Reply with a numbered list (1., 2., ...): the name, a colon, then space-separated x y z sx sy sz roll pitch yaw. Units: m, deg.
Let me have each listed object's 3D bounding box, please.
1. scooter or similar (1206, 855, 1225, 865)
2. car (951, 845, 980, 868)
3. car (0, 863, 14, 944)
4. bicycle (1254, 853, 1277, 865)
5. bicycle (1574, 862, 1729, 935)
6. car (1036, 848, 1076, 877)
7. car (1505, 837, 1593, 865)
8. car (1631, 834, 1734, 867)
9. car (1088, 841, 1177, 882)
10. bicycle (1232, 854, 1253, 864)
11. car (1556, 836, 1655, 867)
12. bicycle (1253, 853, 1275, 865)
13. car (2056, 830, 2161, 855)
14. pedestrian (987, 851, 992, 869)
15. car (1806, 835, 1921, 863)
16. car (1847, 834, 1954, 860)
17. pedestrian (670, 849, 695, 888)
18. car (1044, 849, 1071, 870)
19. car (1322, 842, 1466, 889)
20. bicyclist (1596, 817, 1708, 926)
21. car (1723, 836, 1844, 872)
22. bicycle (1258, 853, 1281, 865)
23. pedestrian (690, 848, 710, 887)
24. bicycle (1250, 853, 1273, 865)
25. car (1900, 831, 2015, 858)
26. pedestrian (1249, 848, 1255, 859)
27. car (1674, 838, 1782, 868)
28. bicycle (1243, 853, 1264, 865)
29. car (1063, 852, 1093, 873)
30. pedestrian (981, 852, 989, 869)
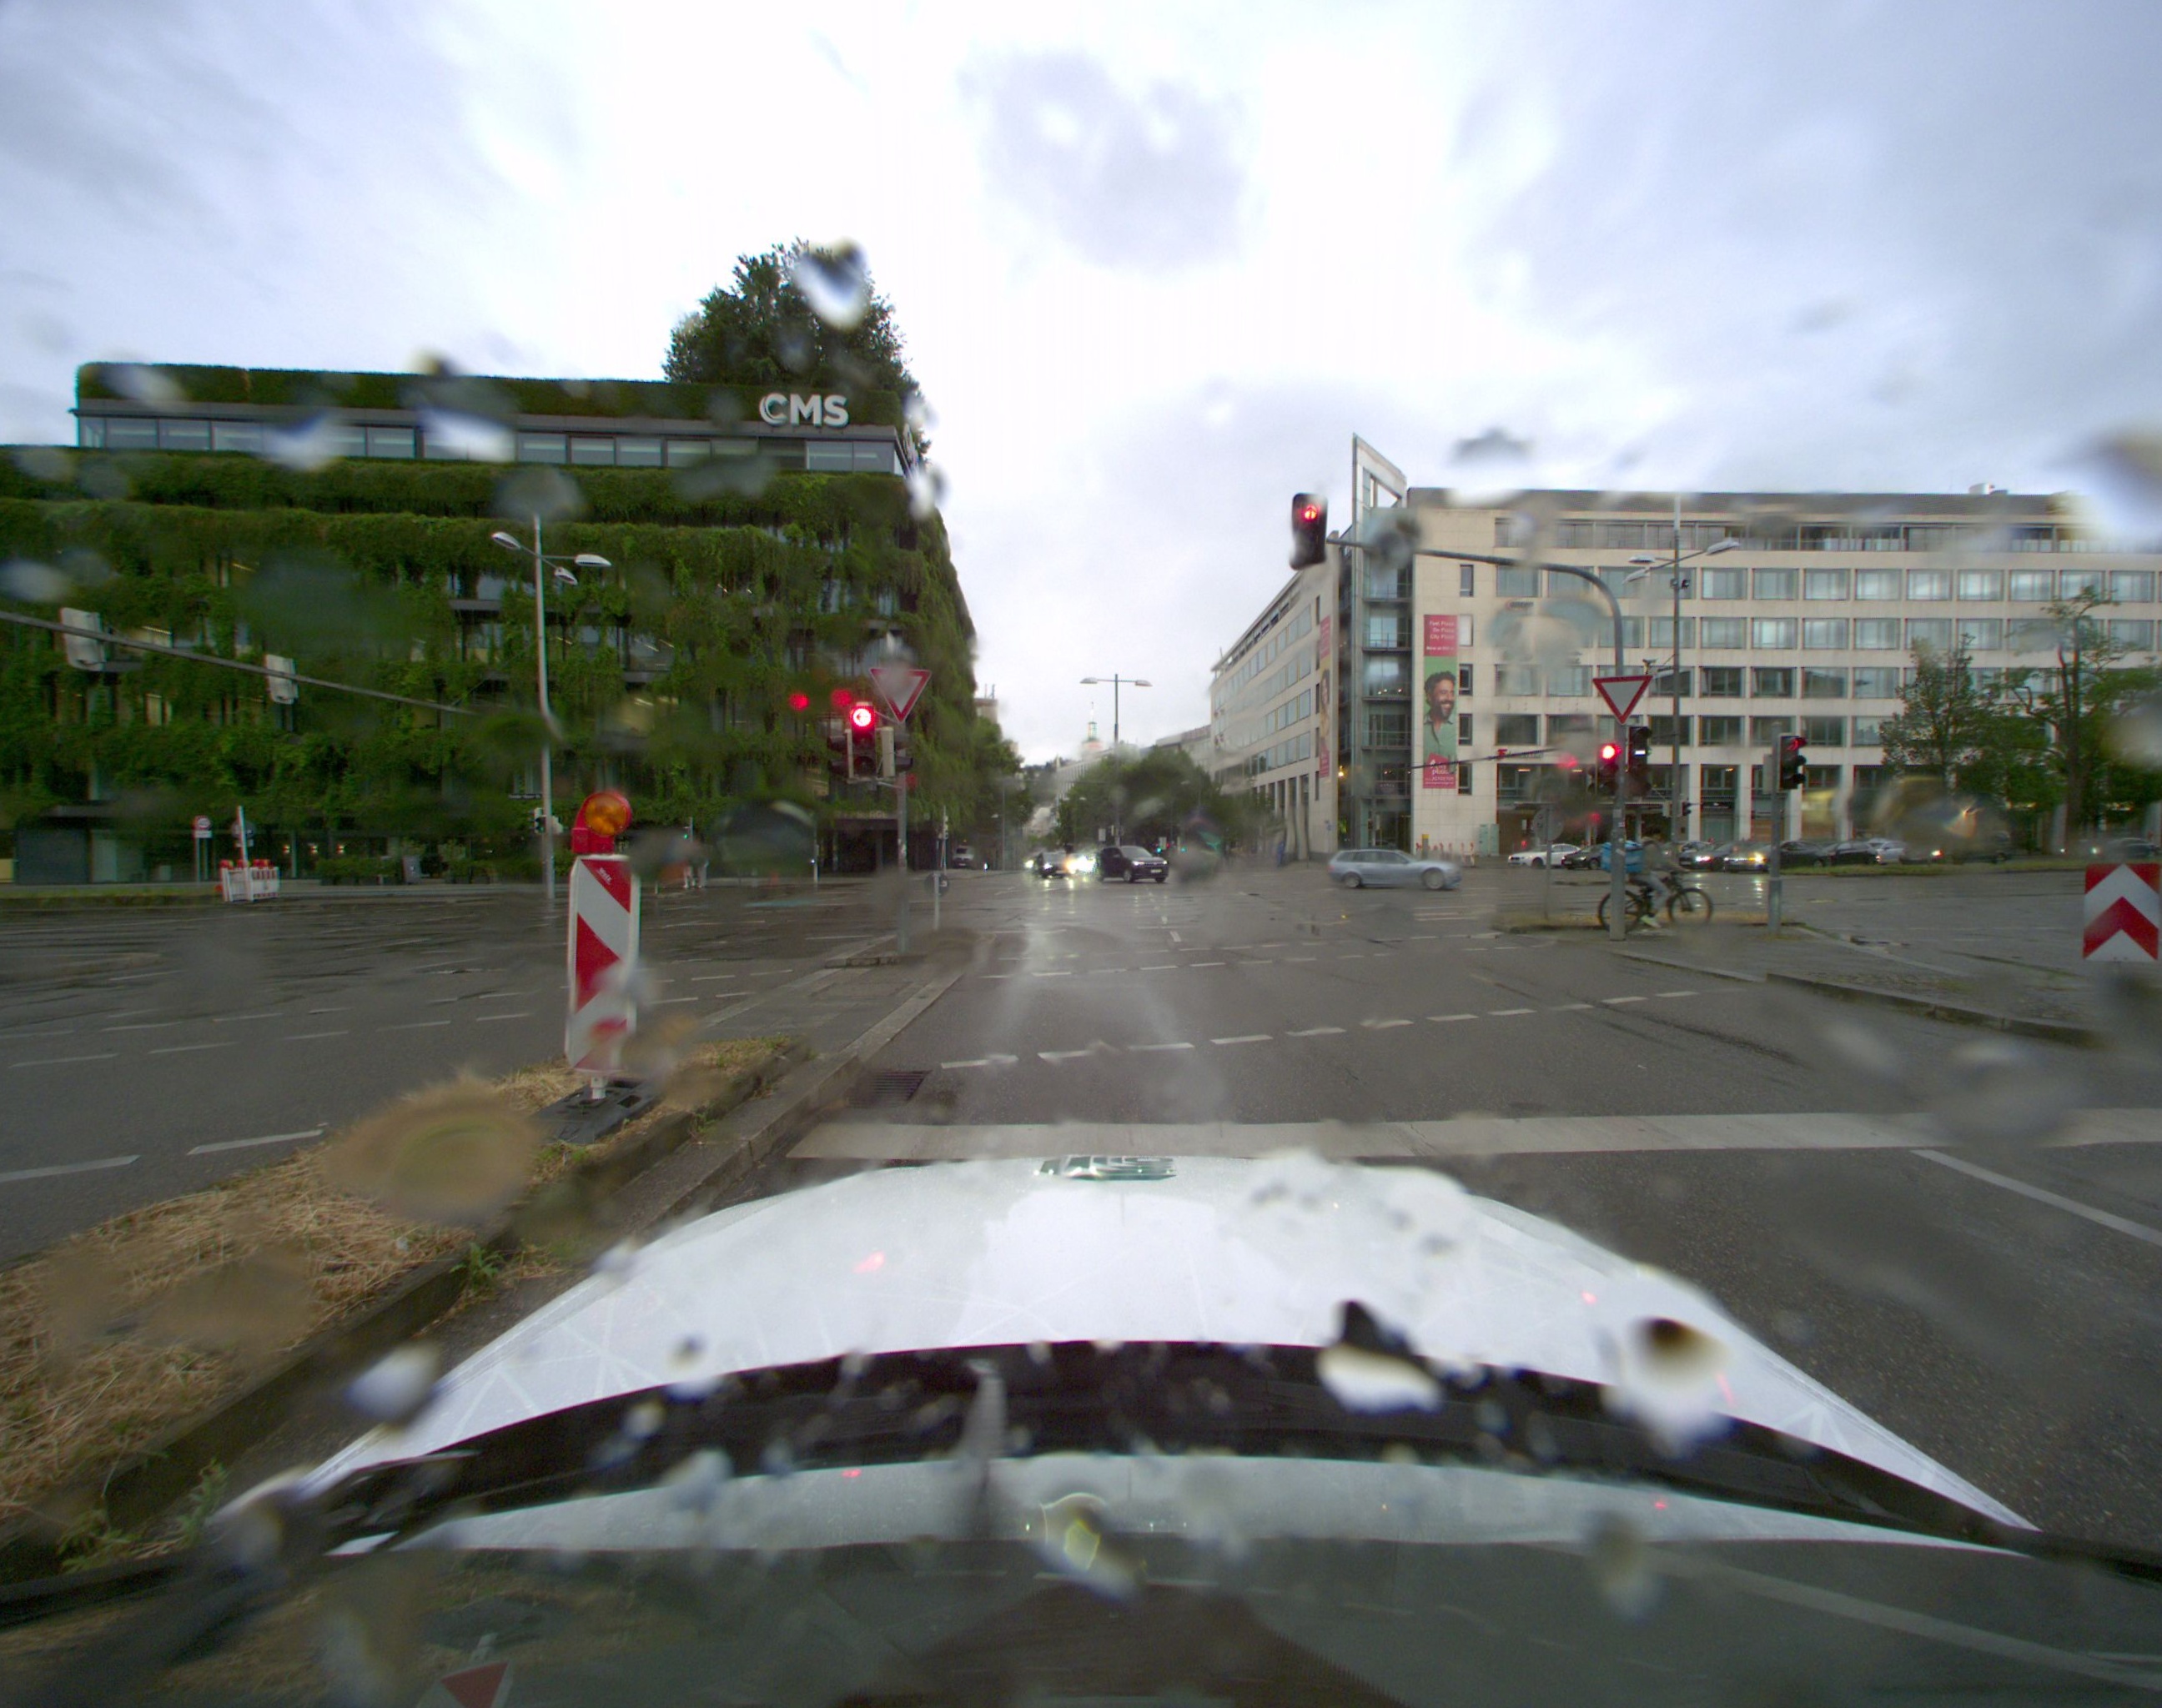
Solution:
1. scooter or similar: 13.198 0.595 79.892 1.750 0.878 0.486 -1 0 -18
2. car: -9.707 0.194 68.729 1.989 1.895 4.461 -1 0 -2
3. car: -27.139 1.201 18.233 3.451 1.922 1.992 -1 0 -11
4. bicycle: 14.843 0.390 65.652 1.778 0.934 0.478 -1 0 43
5. bicycle: 9.370 0.702 13.398 2.147 1.103 0.845 -1 0 -12
6. car: -1.468 0.434 45.665 1.854 1.448 4.610 -1 1 -7
7. car: 27.994 -0.171 48.733 4.456 1.598 1.991 -1 0 -14
8. car: 31.675 -0.190 42.923 4.455 1.598 1.991 -1 0 -13
9. car: 2.224 0.287 36.363 1.976 1.655 4.324 -2 1 -29
10. bicycle: 14.397 0.452 72.589 1.786 0.934 0.476 -1 0 4
11. car: 29.208 -0.136 45.400 4.451 1.598 1.993 -1 0 -10
12. bicycle: 14.904 0.430 66.396 1.778 0.934 0.478 -1 0 43
13. car: 60.303 -0.656 47.785 4.634 1.348 1.921 -1 0 -10
14. pedestrian: -8.033 0.541 71.478 0.435 1.524 0.547 -1 0 -3
15. car: 39.470 -0.258 41.119 4.637 1.348 1.919 -1 0 -12
16. car: 45.829 -0.378 45.597 4.634 1.348 1.921 -1 0 -10
17. pedestrian: -18.261 0.638 37.356 0.939 1.758 1.163 -1 0 -22
18. car: -2.089 0.463 71.495 2.171 1.823 4.637 -1 0 -4
19. car: 10.979 0.374 28.638 4.406 1.486 2.013 -1 2 33
20. bicyclist: 9.382 0.268 13.399 1.296 1.704 0.844 -1 0 -13
21. car: 31.296 -0.011 36.328 4.452 1.464 1.716 -1 0 -11
22. bicycle: 14.974 0.384 64.683 1.778 0.934 0.478 -1 0 43
23. pedestrian: -17.615 0.629 37.634 0.744 1.758 0.969 -1 0 -22
24. bicycle: 14.184 0.398 64.059 1.778 0.934 0.478 -1 0 43
25. car: 45.240 -0.485 42.082 4.637 1.348 1.919 -1 0 -12
26. pedestrian: 17.016 -0.049 81.127 0.355 1.173 0.411 -1 0 -28
27. car: 31.305 -0.063 39.401 4.455 1.348 1.715 -1 0 -13
28. bicycle: 14.965 0.436 70.726 1.786 0.934 0.476 -1 0 4
29. car: -0.248 0.603 58.668 1.988 1.443 4.552 -1 0 -2
30. pedestrian: -8.386 0.560 71.385 0.605 1.524 0.587 -1 0 -3
